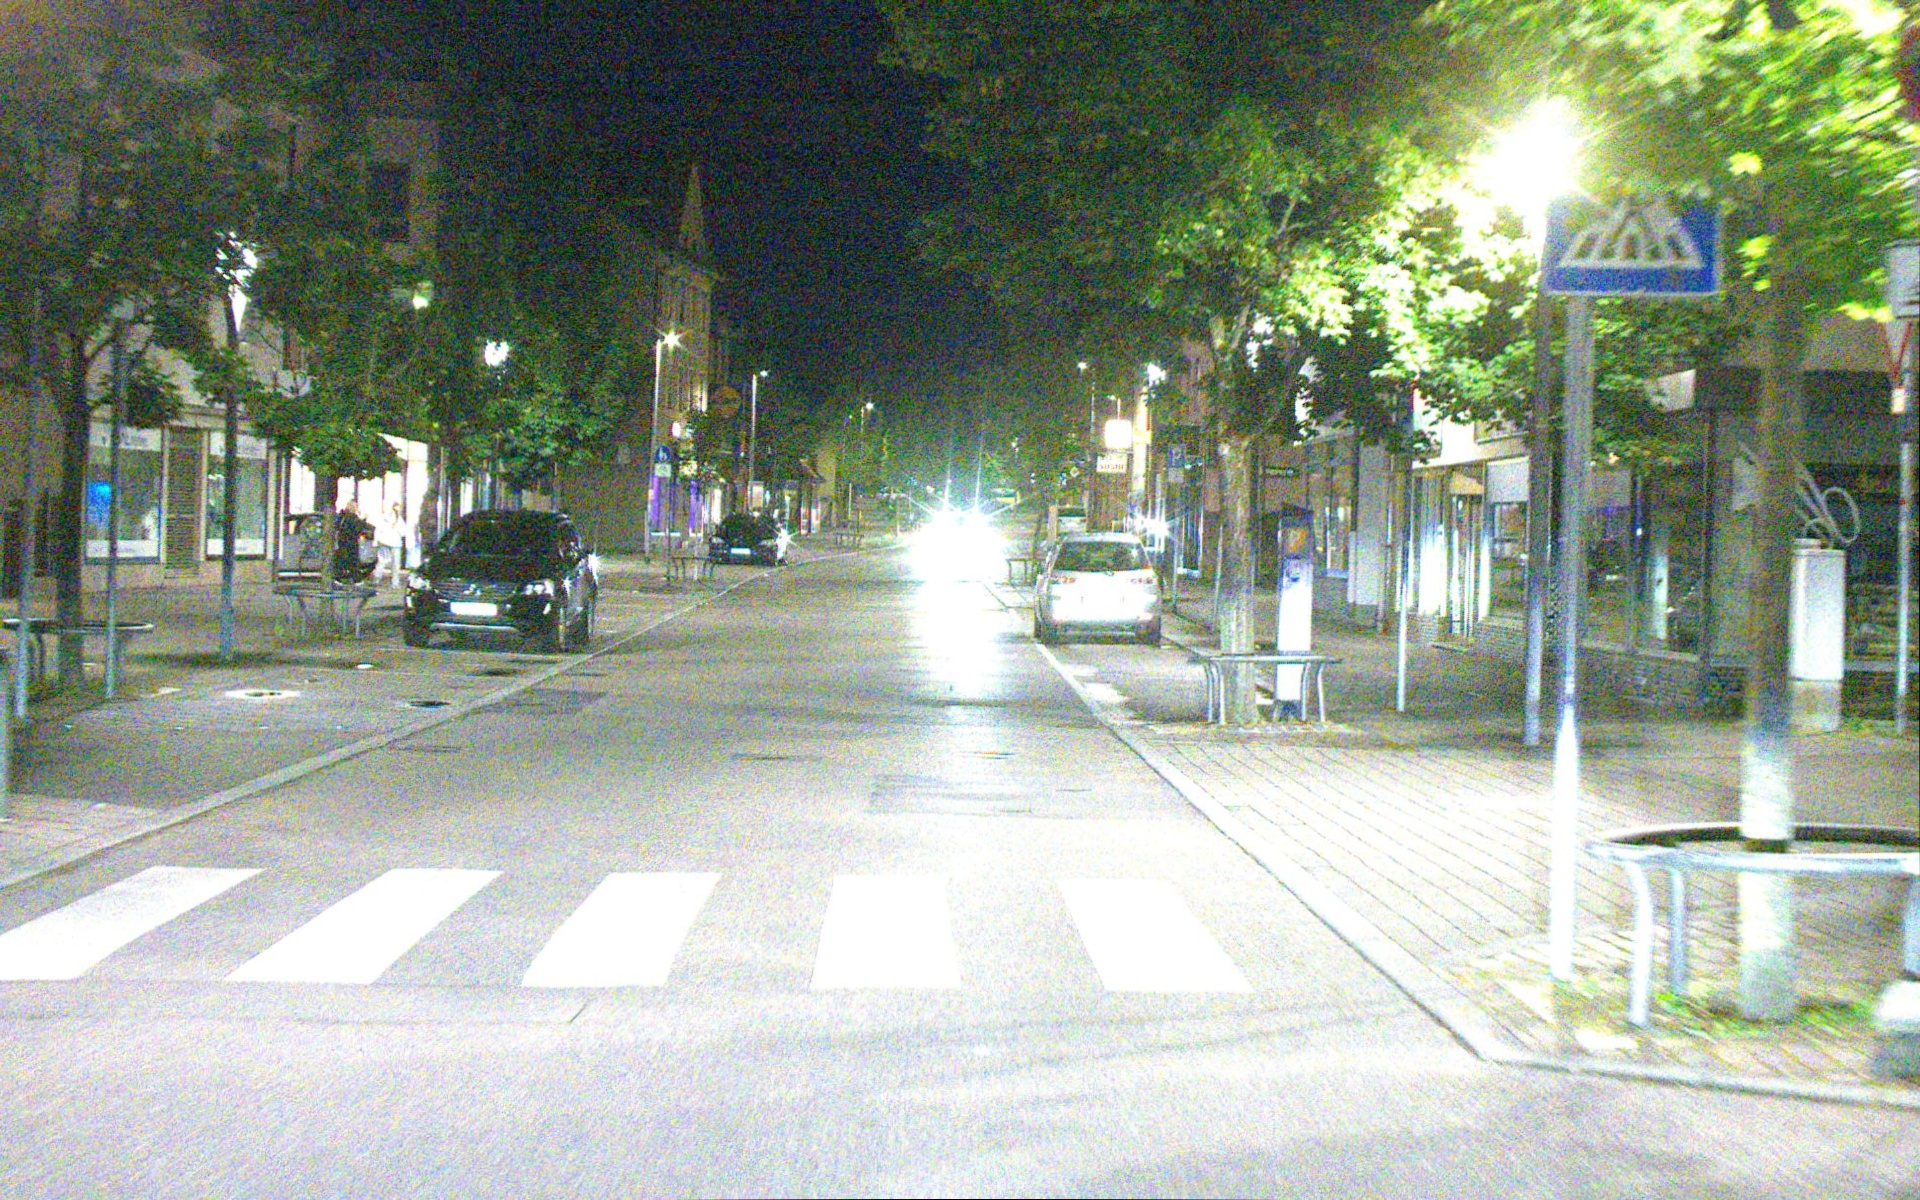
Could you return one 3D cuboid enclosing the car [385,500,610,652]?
[{"bbox_3d":[-5.668,-0.338,42.731,2.018,1.685,5.003,3,1,0],"label":"car"}]

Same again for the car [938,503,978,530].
[{"bbox_3d":[-0.091,-3.882,159.692,1.723,1.242,4.237,1,2,1],"label":"car"}]

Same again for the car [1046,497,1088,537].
[{"bbox_3d":[4.657,-3.638,150.160,1.775,1.646,4.364,1,2,1],"label":"car"}]

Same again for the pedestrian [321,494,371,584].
[{"bbox_3d":[-11.553,-1.160,64.704,0.769,1.650,0.817,1,3,1],"label":"pedestrian"}]

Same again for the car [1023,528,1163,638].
[{"bbox_3d":[1.835,-0.269,48.395,1.674,1.454,3.676,1,1,-2],"label":"car"}]

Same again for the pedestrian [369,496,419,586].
[{"bbox_3d":[-10.595,-1.114,64.389,0.769,1.650,0.782,1,3,1],"label":"pedestrian"}]

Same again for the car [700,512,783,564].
[{"bbox_3d":[-6.135,-1.760,96.771,1.914,1.366,4.457,1,2,2],"label":"car"}]

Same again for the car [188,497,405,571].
[{"bbox_3d":[-14.049,-1.404,72.937,4.167,1.433,1.841,-2,1,4],"label":"car"}]
